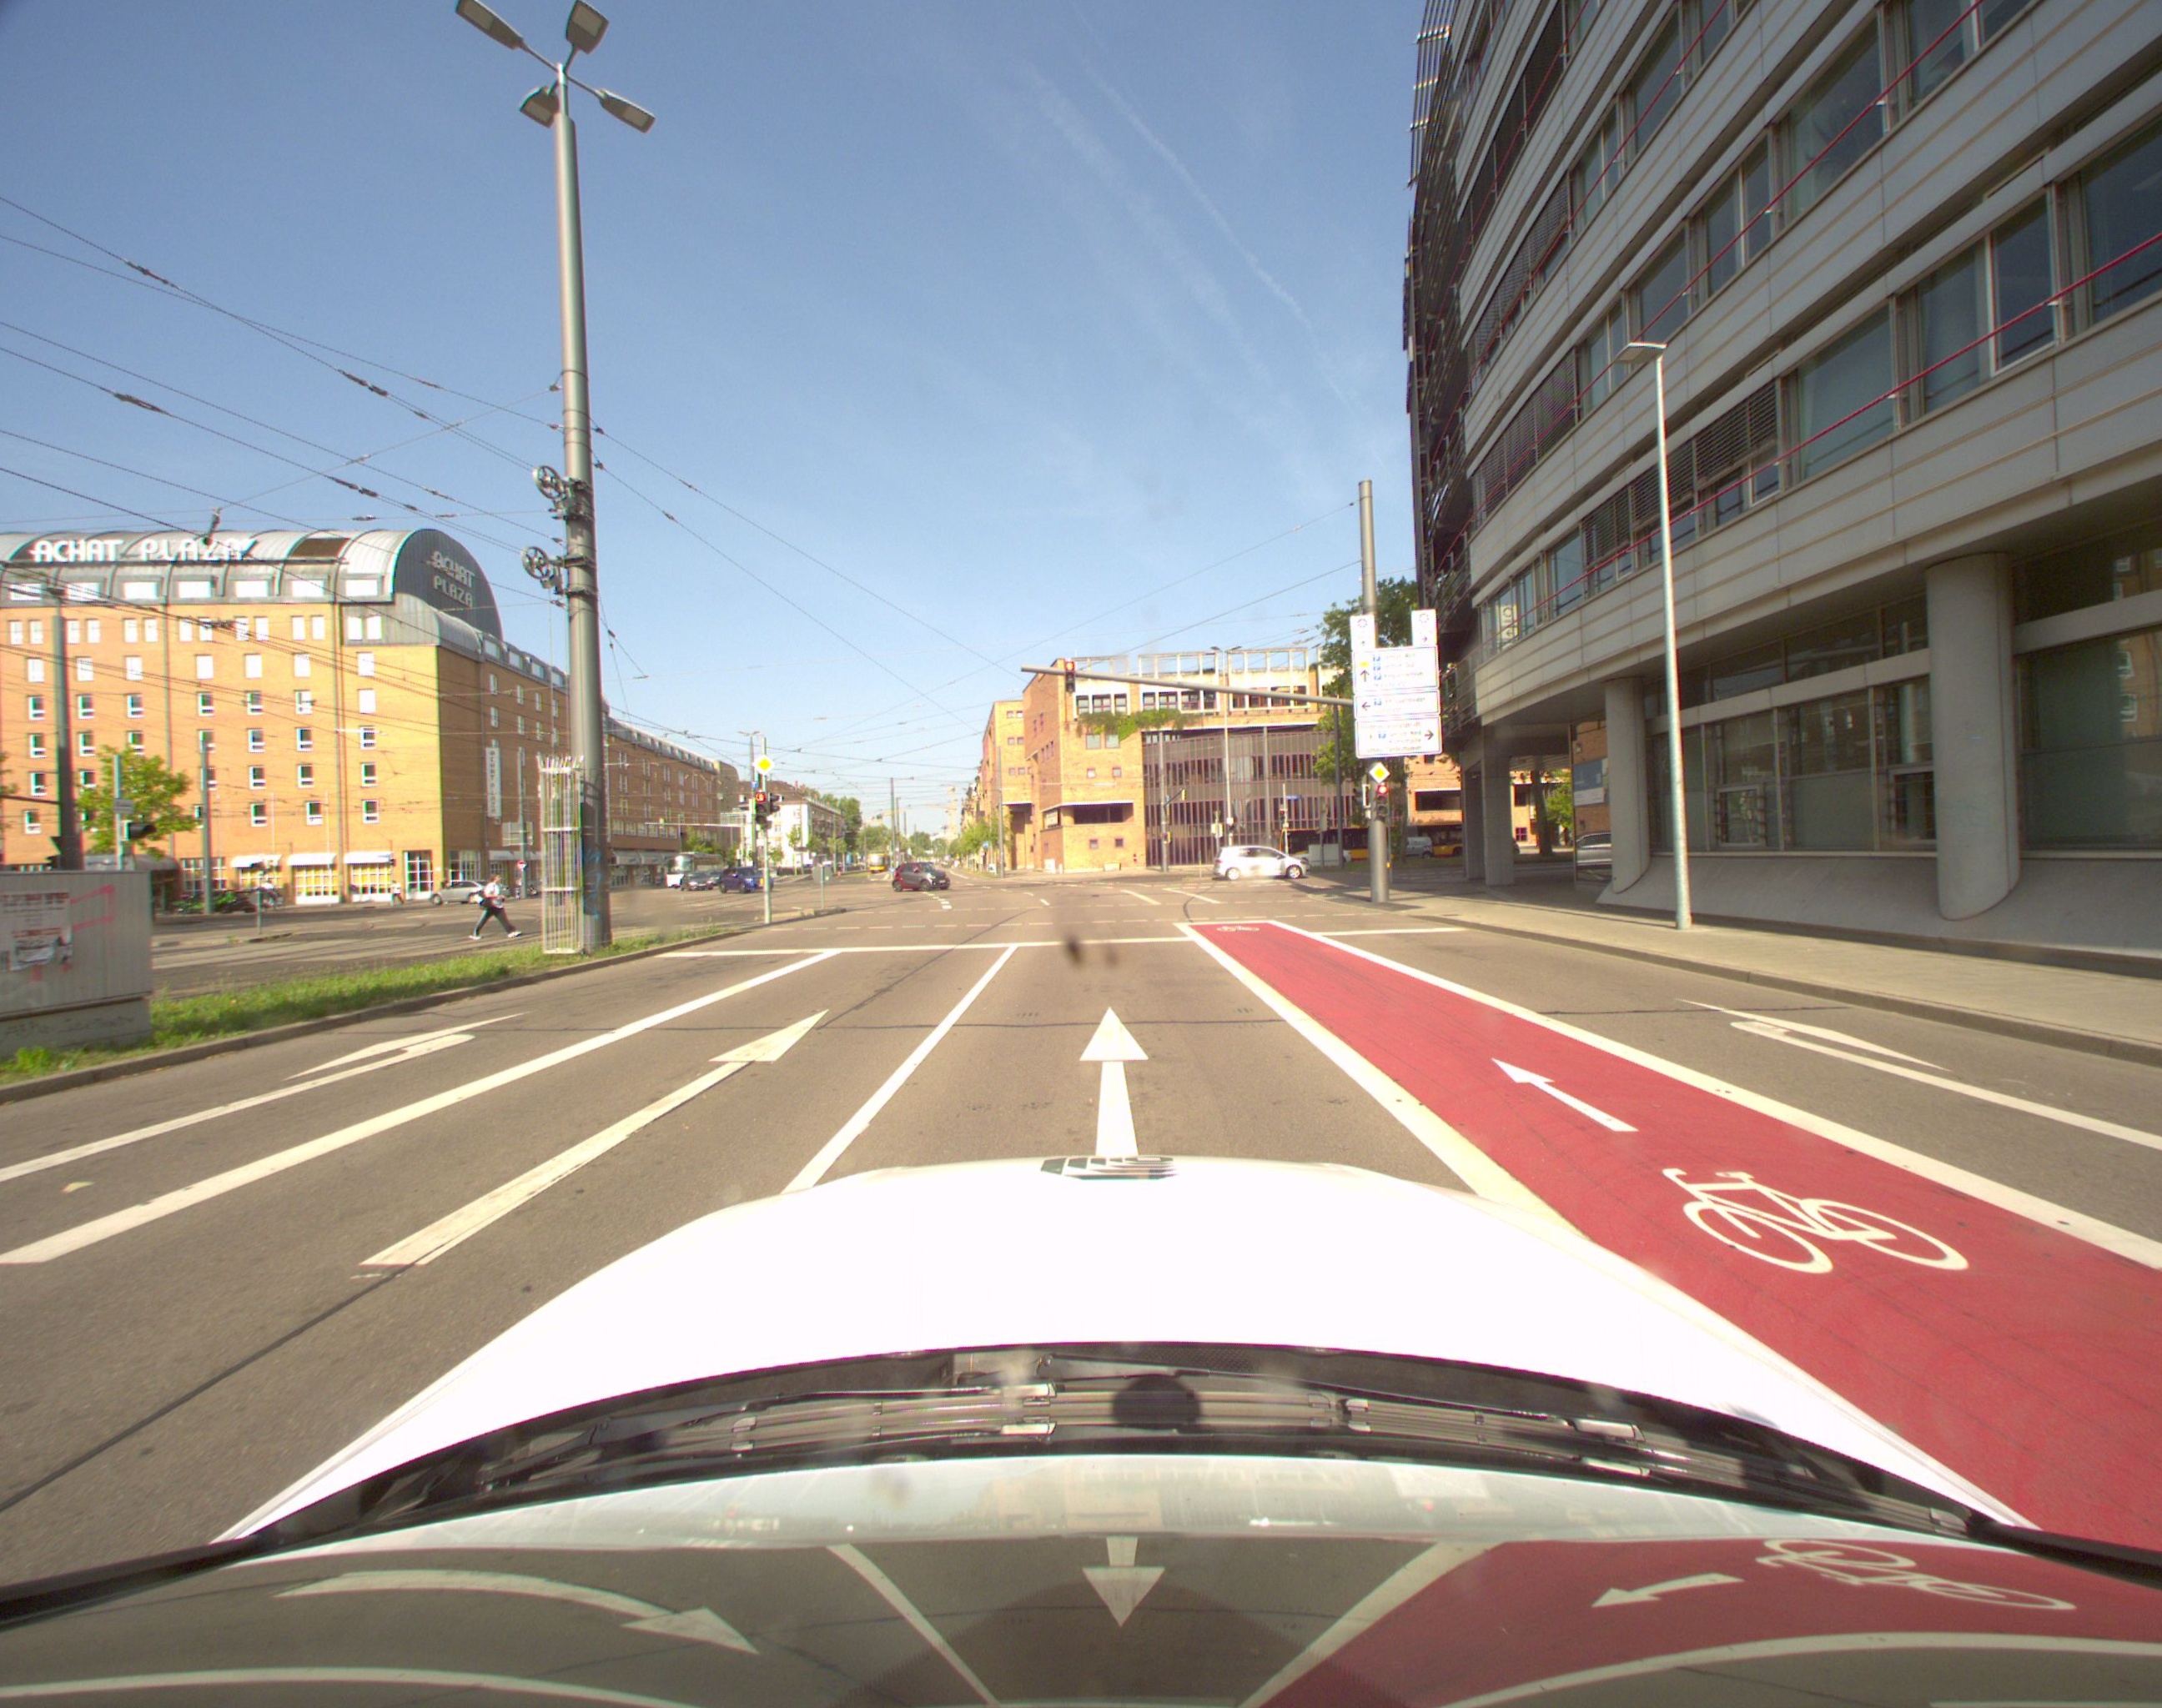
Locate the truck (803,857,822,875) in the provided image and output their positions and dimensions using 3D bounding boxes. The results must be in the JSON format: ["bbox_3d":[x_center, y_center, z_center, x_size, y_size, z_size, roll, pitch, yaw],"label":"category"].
[{"bbox_3d":[-40.578,1.763,122.963,1.994,2.598,4.723,-2,0,-11],"label":"truck"}]

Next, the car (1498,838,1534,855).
[{"bbox_3d":[31.929,-0.545,59.803,2.233,1.111,0.722,-2,-2,-3],"label":"car"}]

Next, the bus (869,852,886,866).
[{"bbox_3d":[-30.364,0.798,121.693,1.993,2.013,3.987,-2,0,-10],"label":"bus"}]

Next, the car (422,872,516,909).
[{"bbox_3d":[-37.208,2.232,49.548,4.570,2.013,2.007,-2,0,11],"label":"car"}]

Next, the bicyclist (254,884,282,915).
[{"bbox_3d":[-46.795,2.611,46.878,0.662,1.747,0.968,-2,-2,2],"label":"bicyclist"}]

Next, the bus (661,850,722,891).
[{"bbox_3d":[-40.779,1.849,85.686,2.748,3.921,12.168,-2,-2,-11],"label":"bus"}]

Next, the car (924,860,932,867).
[{"bbox_3d":[-38.867,2.510,207.077,2.074,1.542,4.397,-2,-2,-11],"label":"car"}]

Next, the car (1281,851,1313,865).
[{"bbox_3d":[15.244,0.299,57.411,1.945,0.958,1.093,0,-3,-1],"label":"car"}]

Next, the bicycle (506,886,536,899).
[{"bbox_3d":[-45.303,3.078,65.889,1.963,0.970,0.418,-2,-2,-15],"label":"bicycle"}]

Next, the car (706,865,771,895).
[{"bbox_3d":[-21.027,1.607,49.957,4.357,1.636,2.004,-4,-2,42],"label":"car"}]

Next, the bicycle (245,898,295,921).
[{"bbox_3d":[-46.744,3.160,46.969,0.546,1.206,2.288,-2,-2,2],"label":"bicycle"}]

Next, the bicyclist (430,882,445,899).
[{"bbox_3d":[-45.773,2.584,57.945,0.520,1.129,0.610,-2,-2,-1],"label":"bicyclist"}]

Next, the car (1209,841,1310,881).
[{"bbox_3d":[8.290,0.292,38.145,4.361,1.634,1.691,-2,1,2],"label":"car"}]

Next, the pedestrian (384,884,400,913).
[{"bbox_3d":[-47.921,3.054,56.625,0.753,1.953,0.874,-2,0,-37],"label":"pedestrian"}]

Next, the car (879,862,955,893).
[{"bbox_3d":[-8.645,1.225,42.849,3.557,1.492,1.712,-3,-2,28],"label":"car"}]

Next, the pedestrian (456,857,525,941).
[{"bbox_3d":[-14.754,1.115,20.370,1.155,2.014,0.773,-2,-2,-11],"label":"pedestrian"}]

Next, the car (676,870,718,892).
[{"bbox_3d":[-28.512,2.031,60.365,2.009,1.487,4.173,-1,-2,-37],"label":"car"}]

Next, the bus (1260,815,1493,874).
[{"bbox_3d":[22.751,-0.724,62.785,17.603,3.811,2.856,-2,-2,-9],"label":"bus"}]

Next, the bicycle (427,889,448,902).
[{"bbox_3d":[-45.759,2.917,57.923,0.345,0.872,1.397,-2,-2,0],"label":"bicycle"}]
